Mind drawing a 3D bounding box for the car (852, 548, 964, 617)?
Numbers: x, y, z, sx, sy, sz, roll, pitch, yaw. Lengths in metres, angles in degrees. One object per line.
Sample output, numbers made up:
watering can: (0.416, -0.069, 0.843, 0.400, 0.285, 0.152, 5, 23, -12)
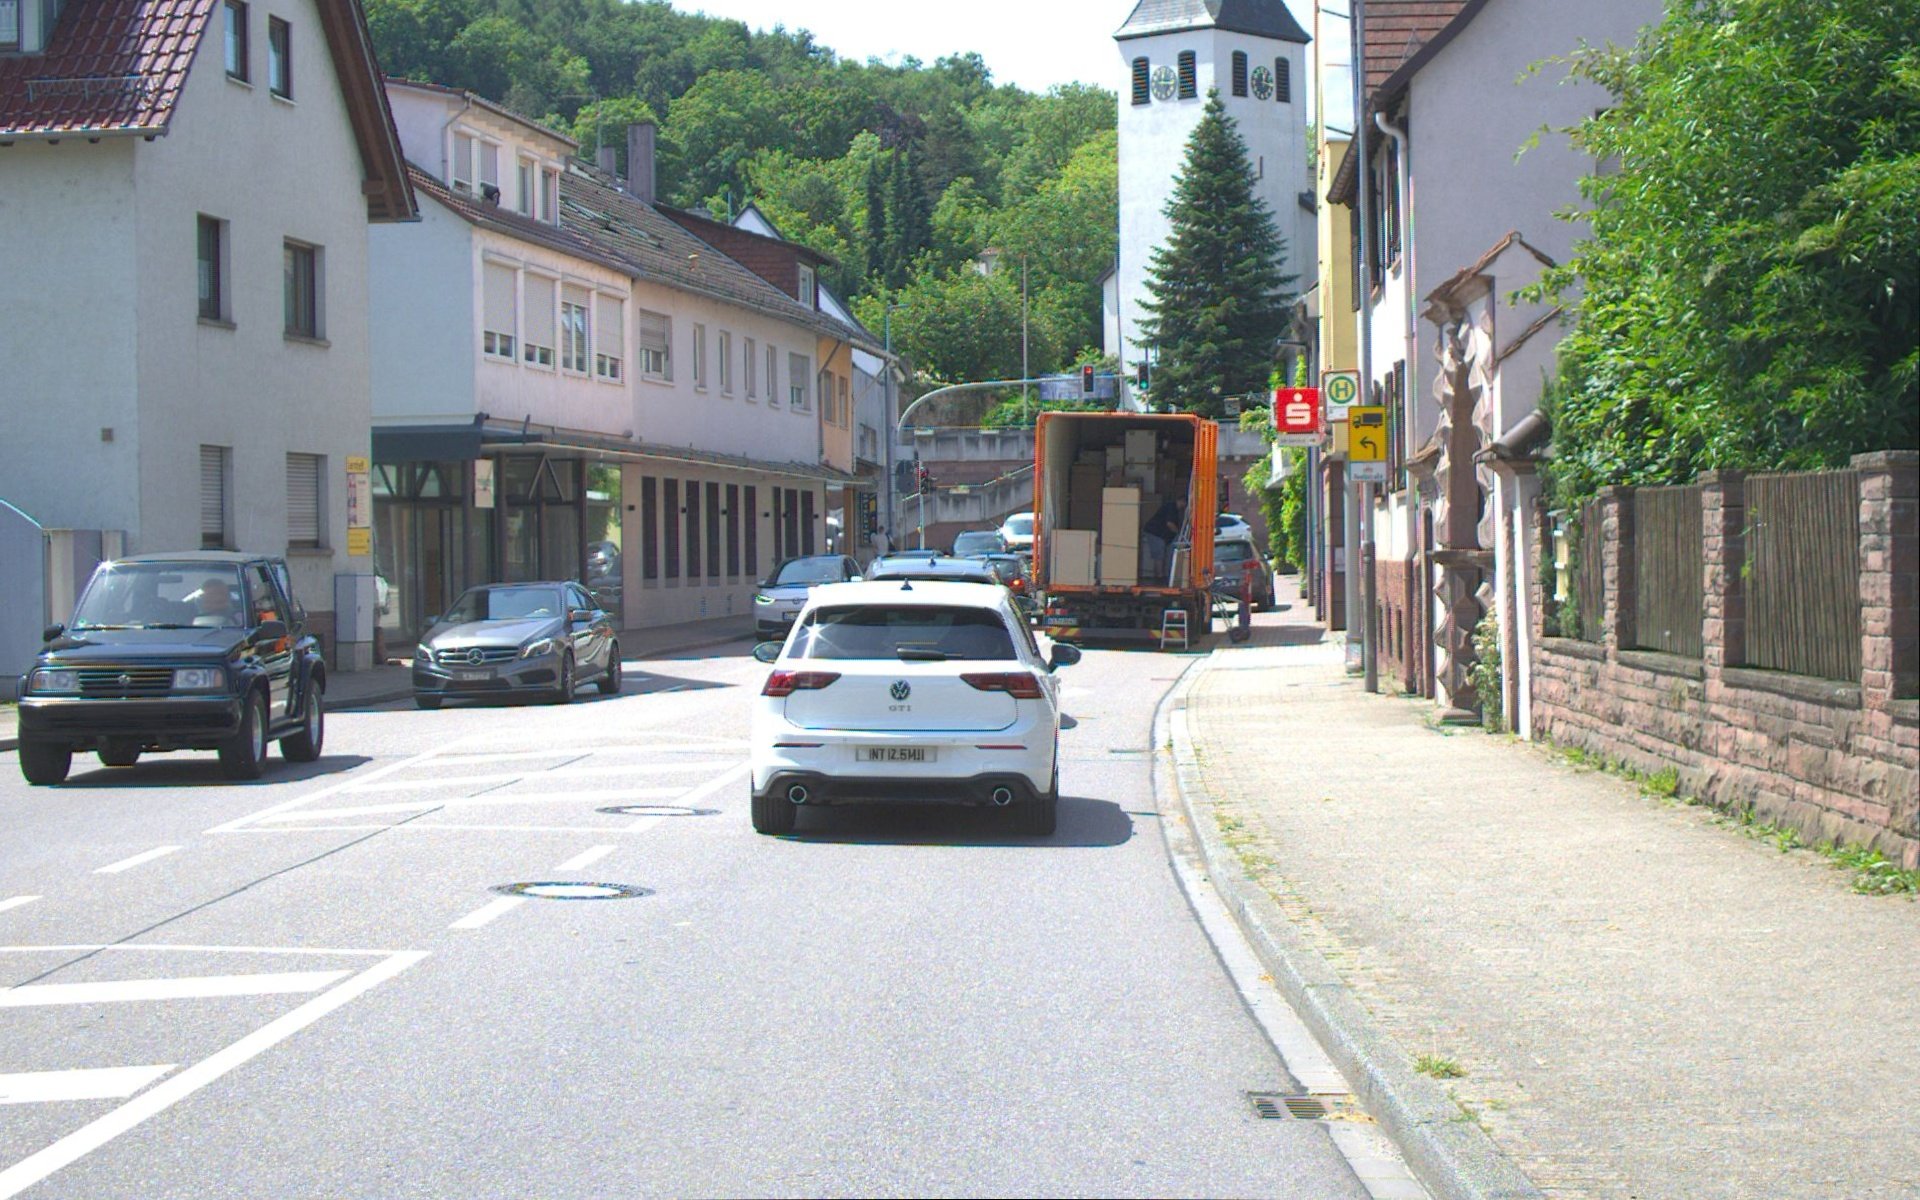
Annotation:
car: (-1.168, -0.404, 78.828, 1.794, 1.488, 4.419, -2, 0, 9)

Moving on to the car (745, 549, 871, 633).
car: (-2.864, -0.178, 65.633, 1.796, 1.503, 4.133, -2, 0, 5)

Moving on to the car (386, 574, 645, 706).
car: (-5.222, 0.442, 40.935, 1.864, 1.437, 4.215, -2, 0, 10)

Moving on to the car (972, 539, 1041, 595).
car: (1.580, -1.133, 115.991, 1.802, 1.773, 4.704, -2, 1, 7)

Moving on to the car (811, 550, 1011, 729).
car: (-0.430, 0.368, 34.191, 1.815, 1.623, 4.000, -2, 0, 1)

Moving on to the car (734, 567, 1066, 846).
car: (-0.291, 0.580, 20.866, 1.815, 1.514, 4.000, 0, 0, 1)

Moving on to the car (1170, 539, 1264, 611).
car: (5.670, -0.547, 76.297, 1.815, 1.514, 4.000, -2, 0, 1)

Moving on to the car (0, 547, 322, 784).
car: (-5.955, 0.432, 25.959, 1.738, 1.645, 3.669, -1, 1, -3)

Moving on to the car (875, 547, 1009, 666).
car: (-0.228, 0.092, 50.459, 1.815, 1.623, 4.000, -2, 0, 1)

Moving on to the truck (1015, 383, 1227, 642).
truck: (2.931, -1.450, 61.322, 3.367, 4.156, 9.518, -2, 0, 3)
